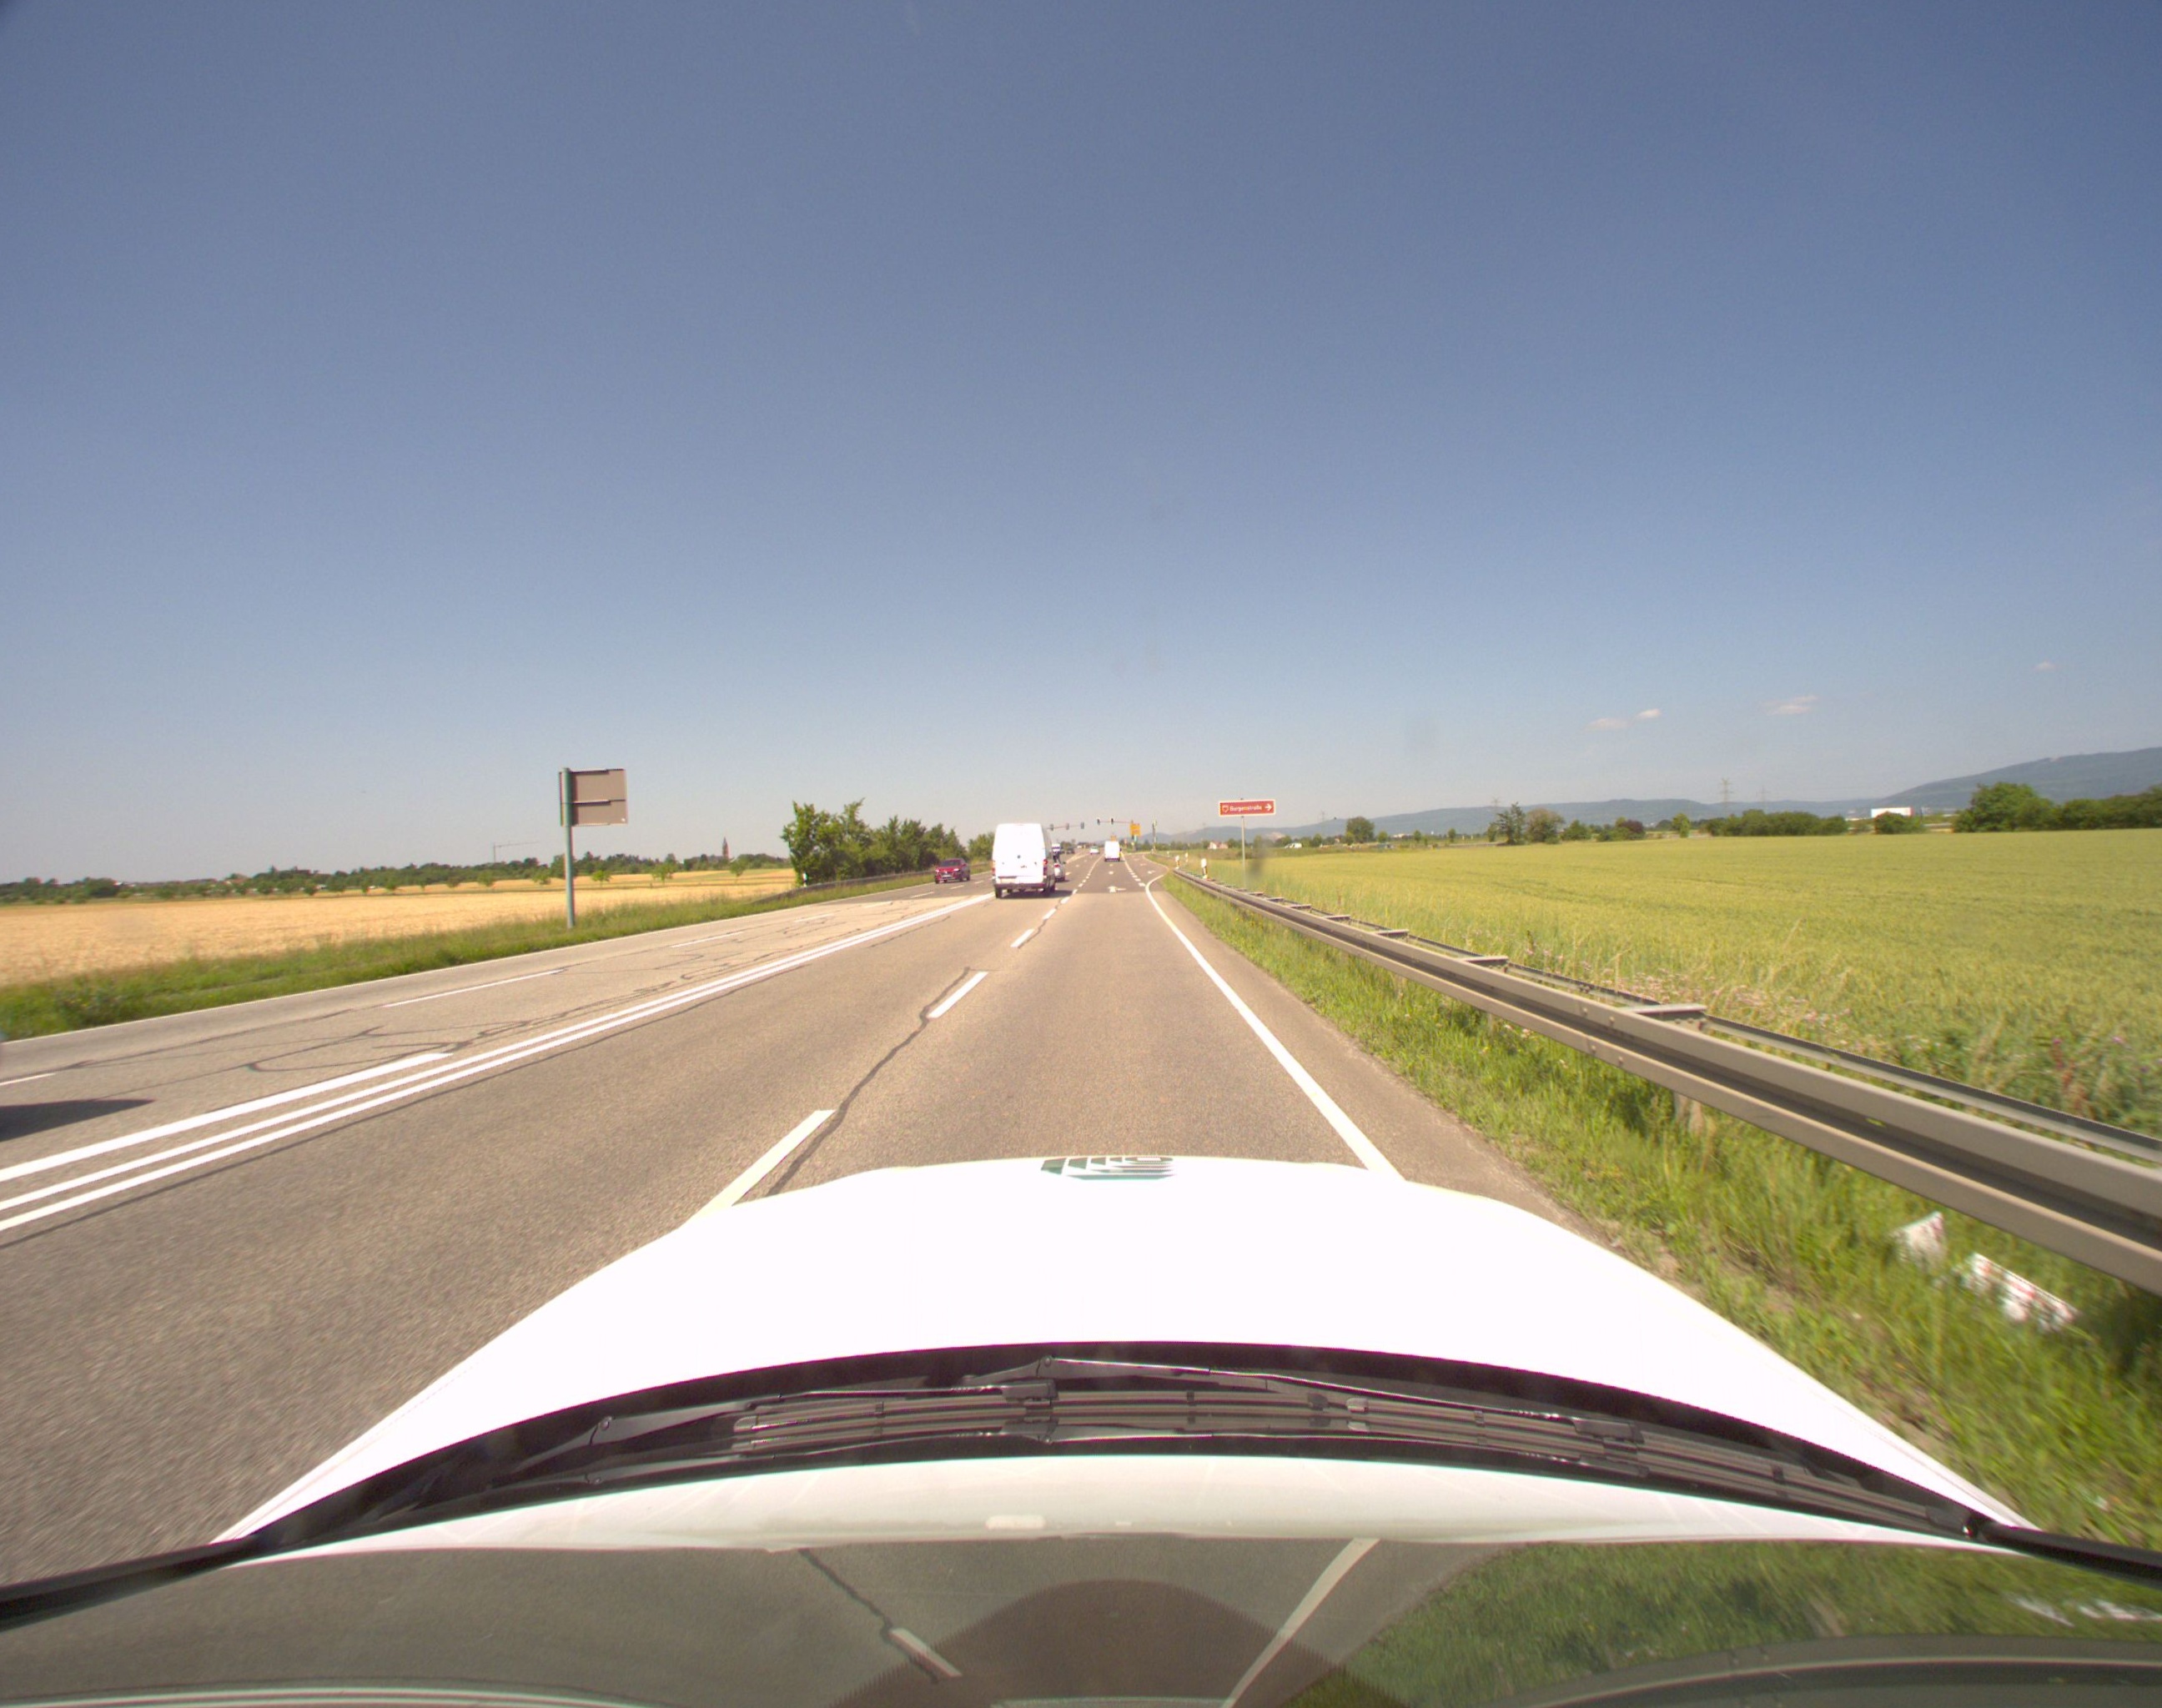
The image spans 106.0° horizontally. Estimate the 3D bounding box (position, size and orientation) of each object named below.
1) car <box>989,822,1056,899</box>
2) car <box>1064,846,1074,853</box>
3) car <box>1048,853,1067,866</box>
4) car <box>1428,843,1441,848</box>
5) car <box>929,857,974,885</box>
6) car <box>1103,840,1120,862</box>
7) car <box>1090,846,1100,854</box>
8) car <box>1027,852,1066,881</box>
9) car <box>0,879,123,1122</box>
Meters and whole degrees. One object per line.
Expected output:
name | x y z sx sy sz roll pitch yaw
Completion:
car | -2.109 0.244 30.971 2.032 2.620 5.741 -1 0 1
car | -2.723 -1.070 187.820 1.849 1.423 4.004 -2 0 3
car | -2.855 0.690 97.851 1.849 1.423 4.004 -3 0 3
car | 97.080 -2.310 223.599 3.493 1.486 1.634 0 -1 -28
car | -8.508 1.089 53.881 1.985 1.562 4.314 -4 0 3
car | 3.857 -0.395 103.345 1.986 2.695 4.972 -2 0 2
car | 2.878 -0.839 166.915 1.986 1.703 4.277 -1 0 2
car | -1.839 0.645 44.726 1.792 1.508 4.198 -2 0 2
car | -7.546 1.004 3.509 1.741 1.442 4.086 -4 1 4
